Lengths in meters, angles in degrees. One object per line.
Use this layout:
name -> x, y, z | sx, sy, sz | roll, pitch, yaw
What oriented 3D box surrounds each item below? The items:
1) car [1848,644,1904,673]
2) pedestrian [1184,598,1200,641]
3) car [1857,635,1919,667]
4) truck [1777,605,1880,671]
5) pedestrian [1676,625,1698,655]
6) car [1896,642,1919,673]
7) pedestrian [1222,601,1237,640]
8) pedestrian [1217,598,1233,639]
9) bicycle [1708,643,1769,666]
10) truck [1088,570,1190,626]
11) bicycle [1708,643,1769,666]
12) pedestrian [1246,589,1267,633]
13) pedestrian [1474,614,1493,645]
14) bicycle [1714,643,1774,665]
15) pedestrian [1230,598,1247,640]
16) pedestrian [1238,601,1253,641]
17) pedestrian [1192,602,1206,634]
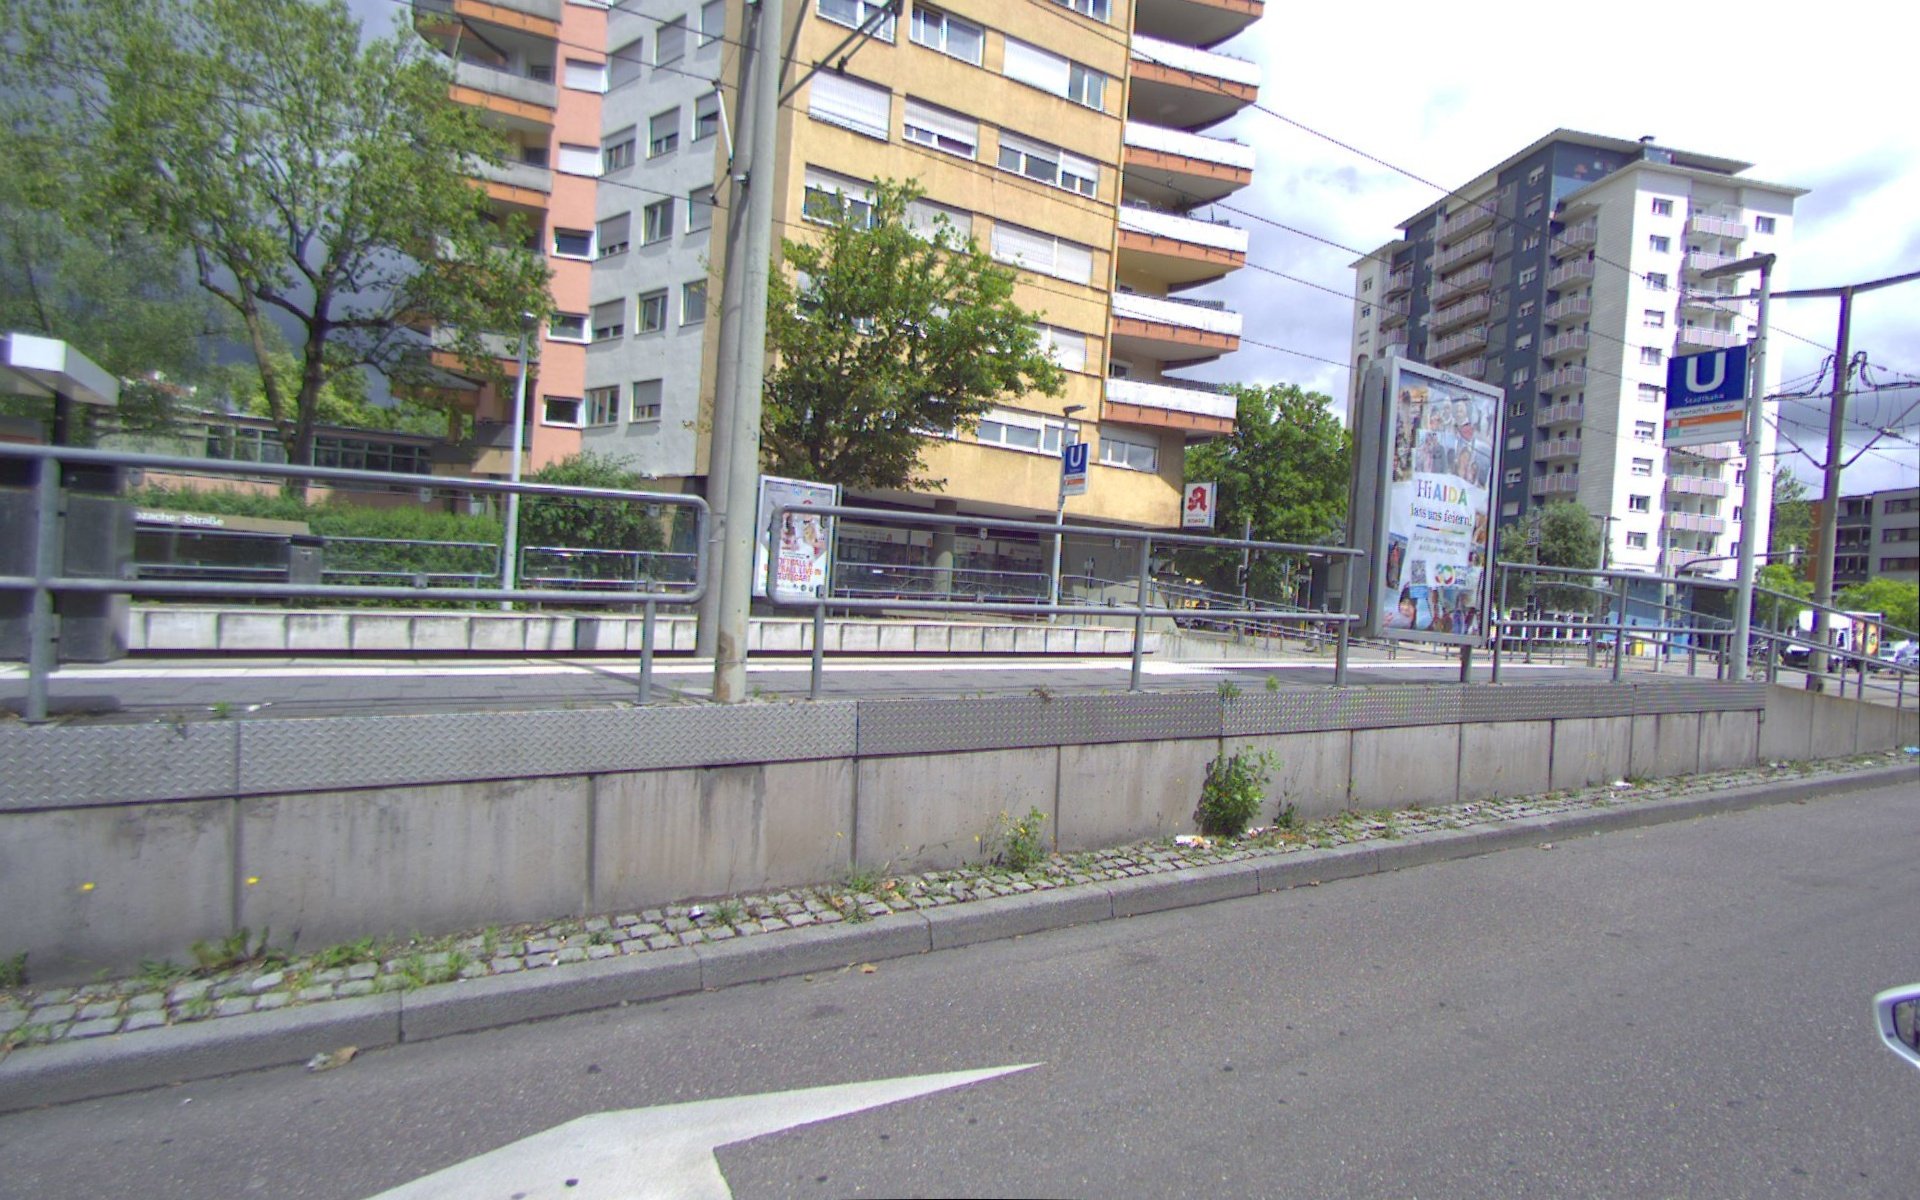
car -> 52.201, 3.330, 57.228 | 3.733, 1.480, 1.399 | 2, 0, -32
pedestrian -> 11.047, 0.937, 47.830 | 0.530, 2.040, 0.561 | 2, 0, 29
car -> 64.308, 3.484, 68.803 | 3.846, 2.001, 1.657 | 2, 0, 18
truck -> 45.610, 2.007, 52.680 | 7.244, 3.159, 2.267 | 2, 0, -34
pedestrian -> 50.476, 2.783, 69.708 | 0.832, 2.040, 0.860 | 2, 0, -12
car -> 58.086, 3.463, 60.449 | 3.732, 1.780, 1.583 | 2, 0, -31
pedestrian -> 14.288, 1.061, 53.287 | 0.531, 2.040, 0.560 | 2, 0, 35
pedestrian -> 13.063, 0.907, 49.429 | 0.532, 2.040, 0.559 | 1, 0, 40
bicycle -> 41.993, 2.934, 54.225 | 2.521, 1.022, 0.754 | 4, 0, 33
truck -> 7.989, -0.110, 45.238 | 2.323, 2.320, 4.260 | 2, 0, -29
bicycle -> 42.563, 2.957, 54.979 | 2.521, 1.022, 0.754 | 4, 0, 33
pedestrian -> 12.396, 0.472, 42.010 | 0.649, 1.799, 0.658 | 2, 0, -1
pedestrian -> 36.004, 2.032, 69.088 | 0.831, 2.040, 0.861 | 2, 0, -2
bicycle -> 43.422, 2.987, 55.672 | 2.521, 1.022, 0.754 | 4, 0, 33
pedestrian -> 13.845, 0.945, 49.913 | 0.592, 2.040, 0.559 | 2, 0, 33
pedestrian -> 14.670, 1.065, 51.605 | 0.530, 2.040, 0.561 | 2, 0, 29
pedestrian -> 11.150, 0.852, 46.924 | 0.538, 1.459, 0.500 | 0, -3, 4
